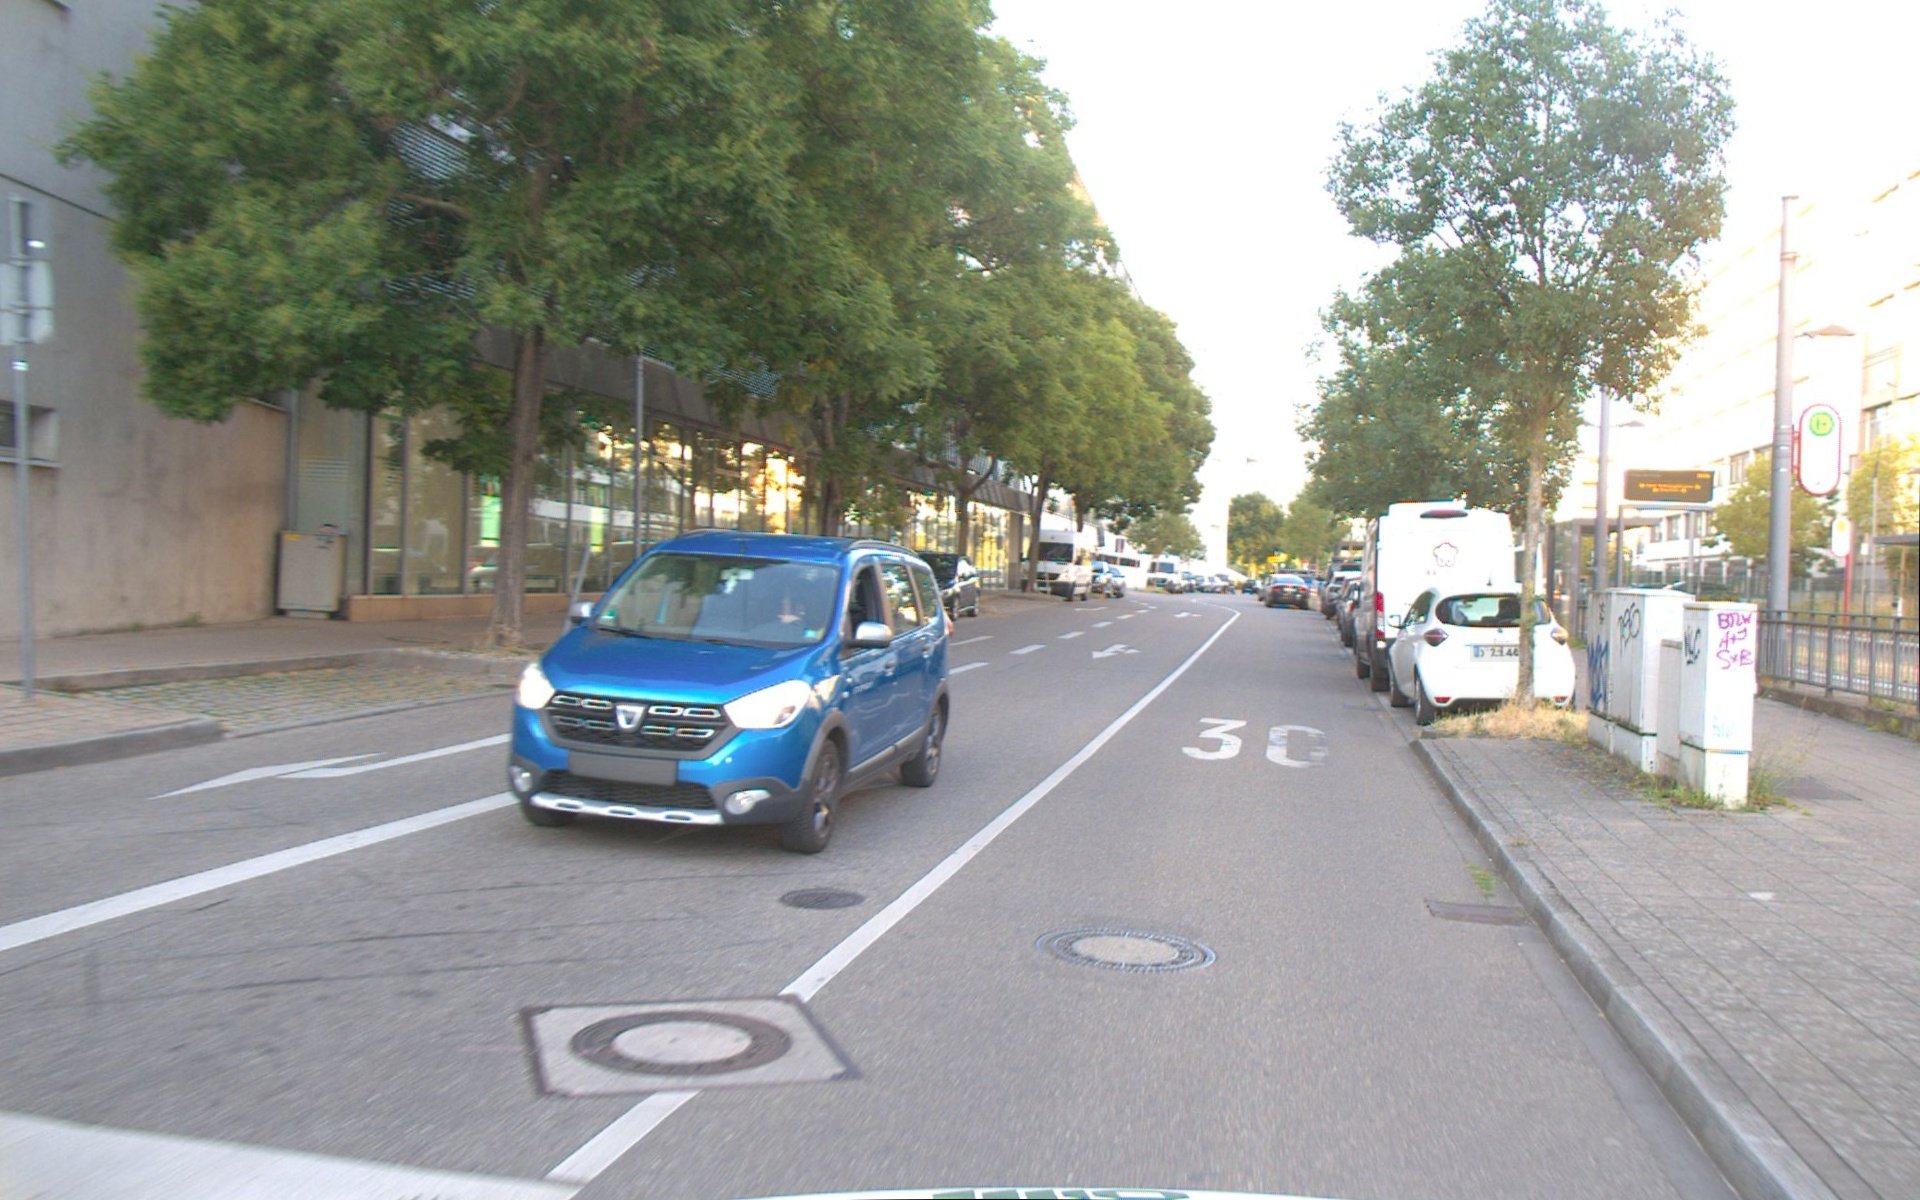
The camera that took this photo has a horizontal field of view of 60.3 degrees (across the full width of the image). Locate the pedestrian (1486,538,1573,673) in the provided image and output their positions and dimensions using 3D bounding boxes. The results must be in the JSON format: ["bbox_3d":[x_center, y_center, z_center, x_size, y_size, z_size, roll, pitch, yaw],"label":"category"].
[{"bbox_3d":[8.891,0.083,25.827,0.967,2.048,0.799,1,1,-34],"label":"pedestrian"}]

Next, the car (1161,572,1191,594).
[{"bbox_3d":[15.709,-1.268,120.439,1.719,1.464,3.905,4,2,13],"label":"car"}]

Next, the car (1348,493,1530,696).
[{"bbox_3d":[7.099,-0.104,25.040,2.007,2.703,5.439,-1,0,10],"label":"car"}]

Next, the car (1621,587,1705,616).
[{"bbox_3d":[37.822,0.084,89.012,3.902,1.513,1.677,0,0,12],"label":"car"}]

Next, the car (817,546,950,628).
[{"bbox_3d":[-1.539,-0.295,35.130,1.667,1.486,4.631,5,2,11],"label":"car"}]

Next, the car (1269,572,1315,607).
[{"bbox_3d":[14.808,-0.489,73.976,1.749,1.477,4.519,2,1,8],"label":"car"}]

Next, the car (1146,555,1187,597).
[{"bbox_3d":[14.278,-1.650,114.075,1.917,2.662,6.899,4,2,13],"label":"car"}]

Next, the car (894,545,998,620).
[{"bbox_3d":[-0.286,-0.442,40.617,1.556,1.595,4.476,5,2,11],"label":"car"}]

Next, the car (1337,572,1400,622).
[{"bbox_3d":[12.911,-0.114,52.447,1.671,1.519,4.134,0,1,10],"label":"car"}]

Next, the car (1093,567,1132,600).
[{"bbox_3d":[7.264,-0.804,78.517,1.678,1.477,4.403,2,1,7],"label":"car"}]

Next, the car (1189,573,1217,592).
[{"bbox_3d":[21.042,-1.534,143.135,1.687,1.482,4.273,4,2,18],"label":"car"}]

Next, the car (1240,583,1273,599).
[{"bbox_3d":[29.218,-0.859,162.802,1.907,1.406,4.393,5,2,27],"label":"car"}]

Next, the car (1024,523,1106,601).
[{"bbox_3d":[4.030,-1.406,62.322,2.056,2.710,6.958,2,1,11],"label":"car"}]

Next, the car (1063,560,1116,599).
[{"bbox_3d":[5.754,-0.913,73.179,1.805,1.599,4.271,2,1,11],"label":"car"}]

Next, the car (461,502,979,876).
[{"bbox_3d":[-1.169,0.391,10.125,1.711,1.707,4.277,3,1,12],"label":"car"}]

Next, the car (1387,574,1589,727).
[{"bbox_3d":[6.142,0.522,19.647,1.710,1.611,4.017,-1,0,10],"label":"car"}]

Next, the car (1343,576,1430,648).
[{"bbox_3d":[9.730,0.225,37.992,1.758,1.522,4.785,-1,1,12],"label":"car"}]

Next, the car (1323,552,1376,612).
[{"bbox_3d":[14.933,-0.688,63.622,1.765,2.214,4.740,0,1,11],"label":"car"}]

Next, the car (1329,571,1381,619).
[{"bbox_3d":[13.703,-0.196,57.581,1.671,1.608,4.483,0,1,12],"label":"car"}]
